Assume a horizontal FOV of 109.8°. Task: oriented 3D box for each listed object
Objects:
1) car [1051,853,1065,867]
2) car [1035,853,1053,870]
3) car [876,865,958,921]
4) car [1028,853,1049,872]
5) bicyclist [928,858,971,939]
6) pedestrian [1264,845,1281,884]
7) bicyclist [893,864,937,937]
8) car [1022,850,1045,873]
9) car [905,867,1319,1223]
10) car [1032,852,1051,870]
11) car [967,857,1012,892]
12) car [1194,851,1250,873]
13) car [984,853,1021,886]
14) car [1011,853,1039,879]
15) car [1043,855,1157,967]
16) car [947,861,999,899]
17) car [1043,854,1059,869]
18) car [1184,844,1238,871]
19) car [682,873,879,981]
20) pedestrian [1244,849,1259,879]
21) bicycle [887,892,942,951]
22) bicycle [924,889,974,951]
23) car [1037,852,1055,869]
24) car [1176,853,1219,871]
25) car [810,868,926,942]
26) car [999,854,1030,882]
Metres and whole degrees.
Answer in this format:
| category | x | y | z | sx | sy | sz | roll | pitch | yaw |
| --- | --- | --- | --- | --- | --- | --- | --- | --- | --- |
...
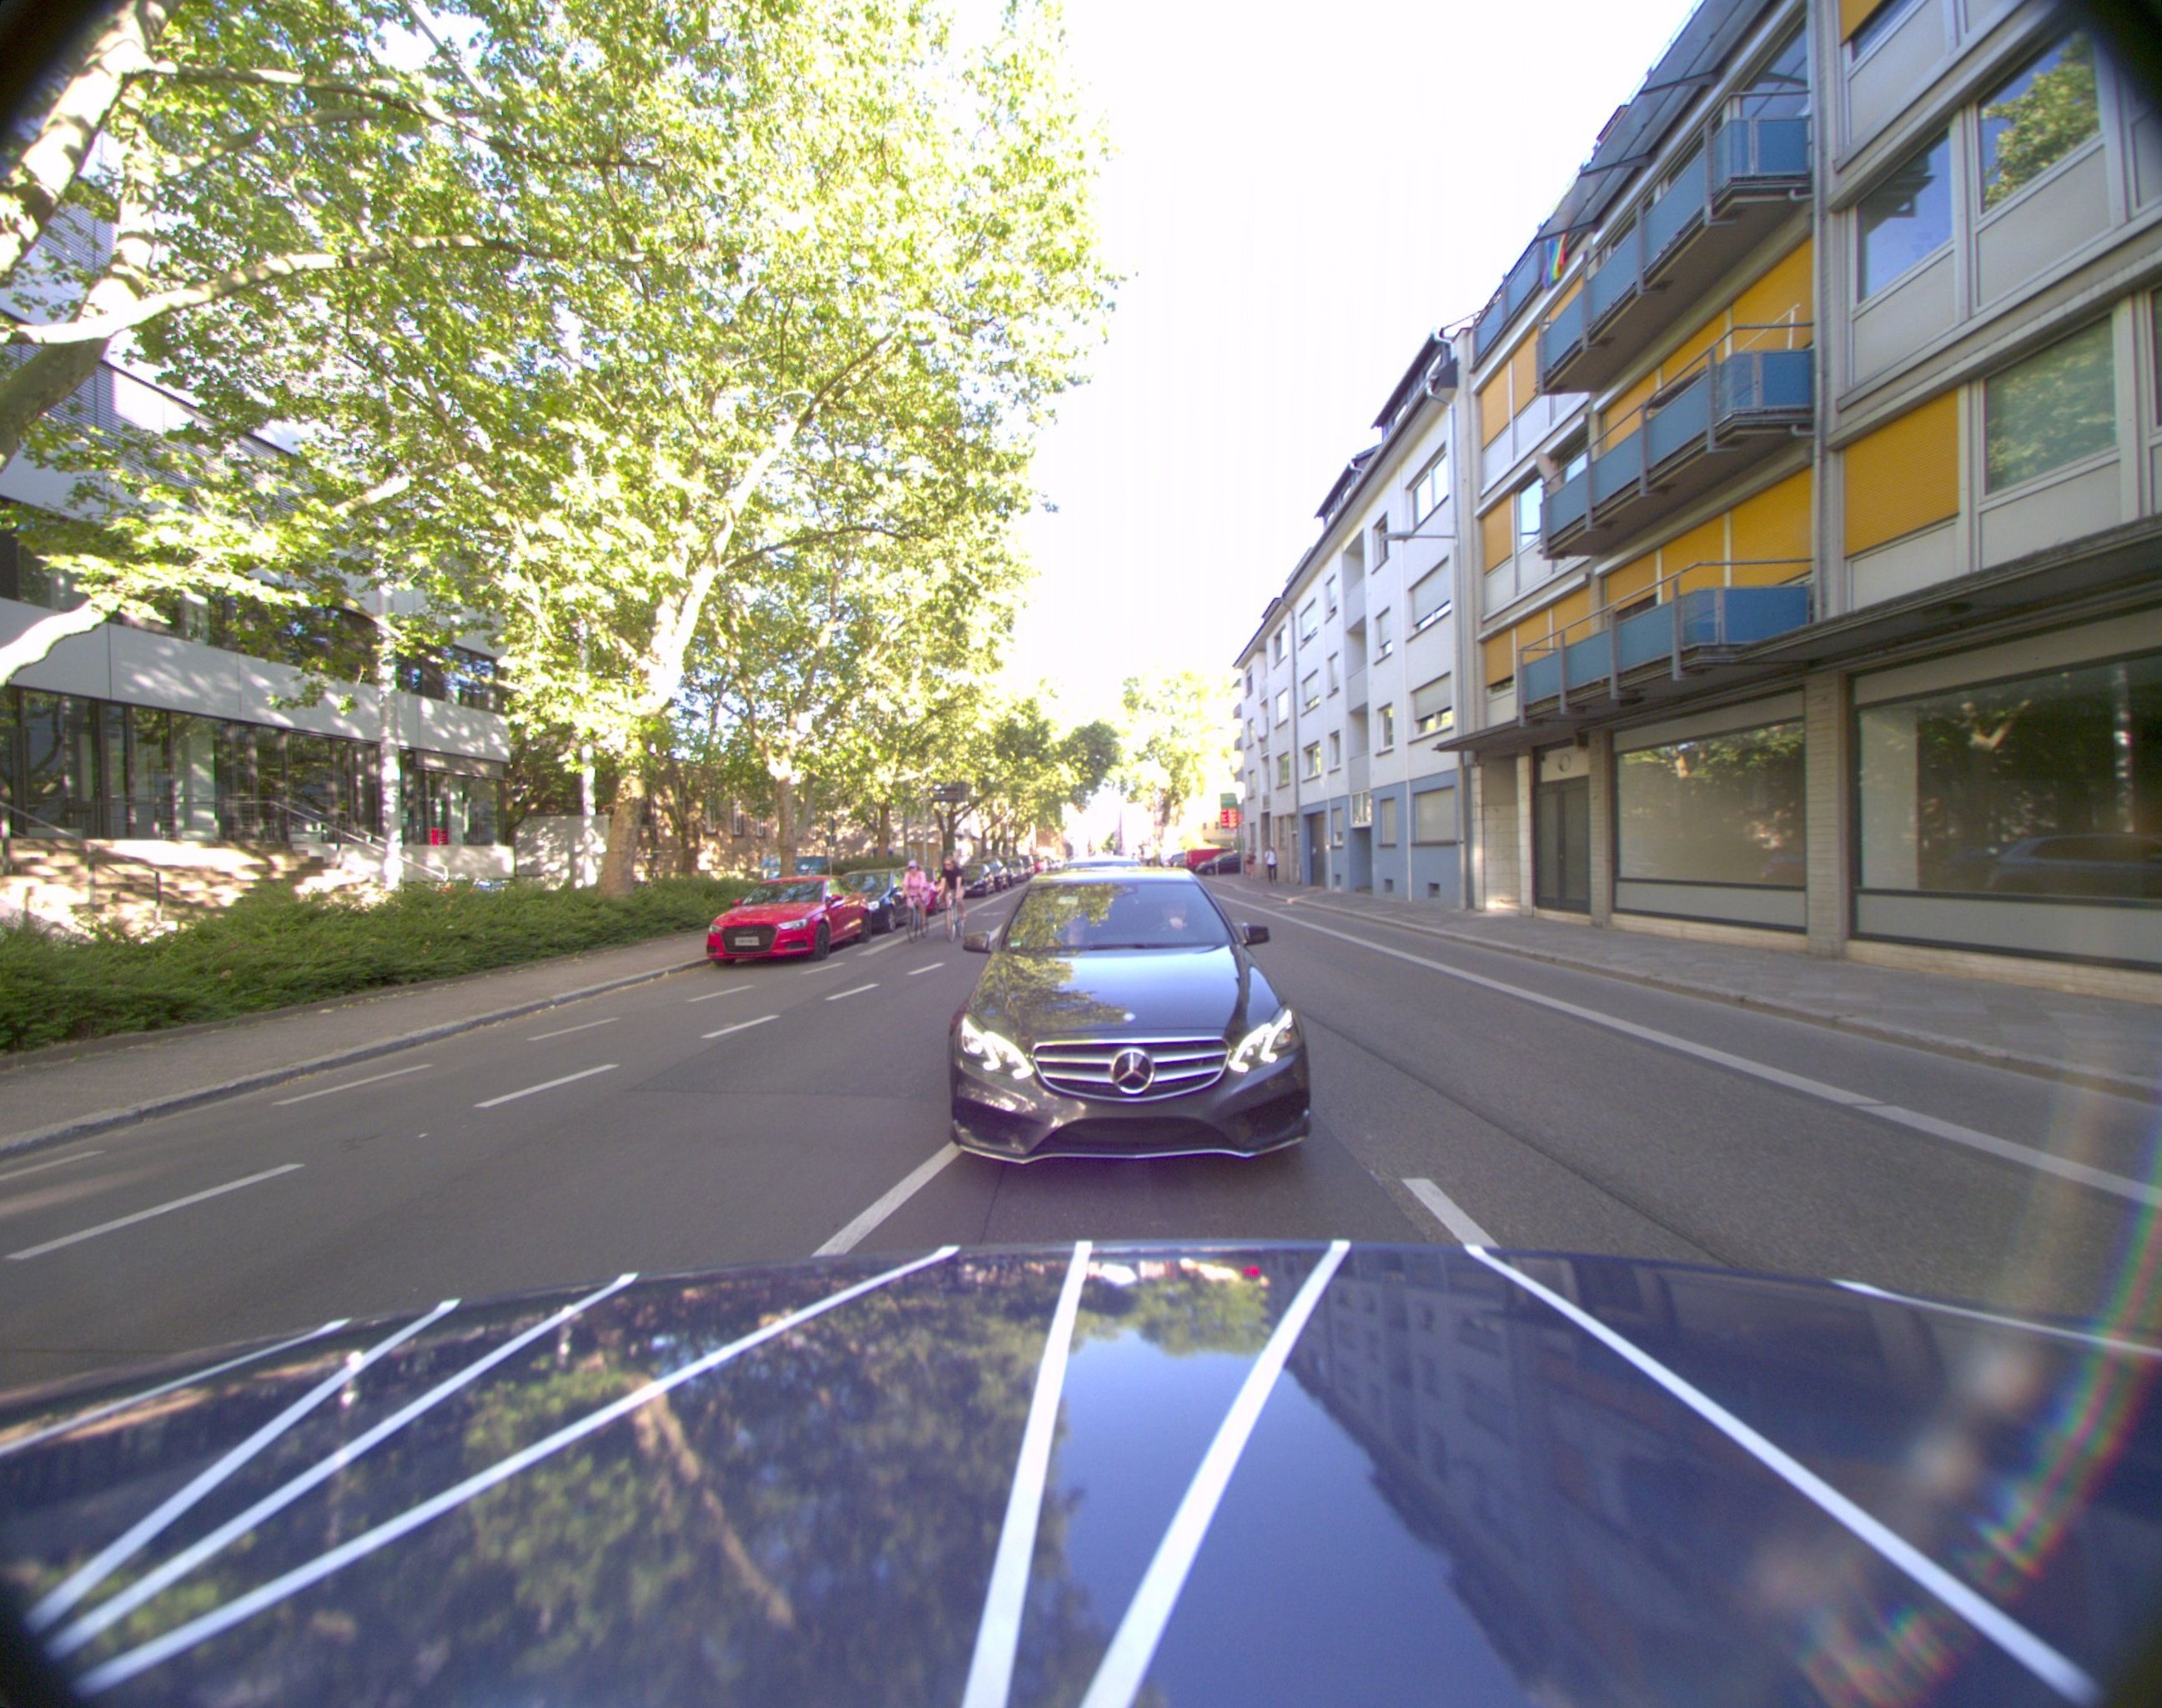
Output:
| category | x | y | z | sx | sy | sz | roll | pitch | yaw |
| --- | --- | --- | --- | --- | --- | --- | --- | --- | --- |
| car | -3.047 | 0.795 | 102.848 | 1.635 | 1.713 | 3.673 | -3 | 0 | 1 |
| car | -3.942 | 0.763 | 82.071 | 1.635 | 1.713 | 3.673 | -3 | 0 | 1 |
| car | -5.018 | 1.149 | 23.702 | 1.635 | 1.455 | 3.740 | -3 | 0 | 1 |
| car | -3.970 | 0.787 | 71.772 | 1.635 | 1.713 | 3.673 | -3 | 0 | 1 |
| bicyclist | -2.580 | 0.861 | 15.002 | 0.612 | 1.507 | 0.889 | -3 | 1 | 1 |
| pedestrian | 8.592 | 0.465 | 34.080 | 0.569 | 1.716 | 0.343 | -3 | 1 | 1 |
| bicyclist | -3.334 | 0.911 | 15.306 | 0.602 | 1.393 | 0.931 | -3 | 1 | 1 |
| car | -4.129 | 0.643 | 66.329 | 1.635 | 1.878 | 3.673 | -3 | 0 | 1 |
| car | 0.167 | 0.905 | 5.507 | 1.804 | 1.455 | 4.125 | -3 | 0 | 1 |
| car | -3.989 | 0.719 | 78.121 | 1.635 | 1.713 | 3.673 | -3 | 0 | 1 |
| car | -4.532 | 0.974 | 38.059 | 1.635 | 1.578 | 3.845 | -3 | 0 | 1 |
| car | 10.124 | 0.563 | 54.729 | 3.670 | 1.403 | 1.636 | -3 | 0 | 1 |
| car | -4.511 | 0.858 | 44.037 | 1.635 | 1.795 | 3.845 | -3 | 0 | 1 |
| car | -4.077 | 0.832 | 55.509 | 1.635 | 1.799 | 3.673 | -3 | 0 | 1 |
| car | 0.322 | 0.883 | 13.751 | 1.680 | 1.622 | 4.125 | -3 | 0 | 1 |
| car | -4.674 | 1.096 | 33.283 | 1.635 | 1.455 | 3.740 | -3 | 0 | 1 |
| car | -3.637 | 0.929 | 92.523 | 1.635 | 1.713 | 3.673 | -3 | 0 | 1 |
| car | 10.227 | 0.266 | 59.991 | 3.927 | 1.912 | 1.636 | -3 | 0 | 1 |
| car | -5.154 | 1.165 | 13.709 | 1.804 | 1.455 | 4.125 | -3 | 0 | 1 |
| pedestrian | 8.653 | 0.515 | 38.583 | 0.569 | 1.509 | 0.343 | -3 | 1 | 1 |
| bicycle | -3.311 | 1.313 | 15.260 | 0.602 | 0.979 | 1.881 | -3 | 0 | 1 |
| bicycle | -2.565 | 1.265 | 14.921 | 0.612 | 1.020 | 1.731 | -3 | 0 | 1 |
| car | -3.954 | 0.720 | 86.197 | 1.635 | 1.713 | 3.673 | -3 | 0 | 1 |
| car | 9.580 | 0.642 | 62.627 | 3.325 | 1.241 | 1.295 | -3 | 0 | 1 |
| car | -5.035 | 1.151 | 18.473 | 1.635 | 1.455 | 3.740 | -3 | 0 | 1 |
| car | -4.411 | 0.900 | 50.708 | 1.635 | 1.644 | 3.845 | -3 | 0 | 1 |
